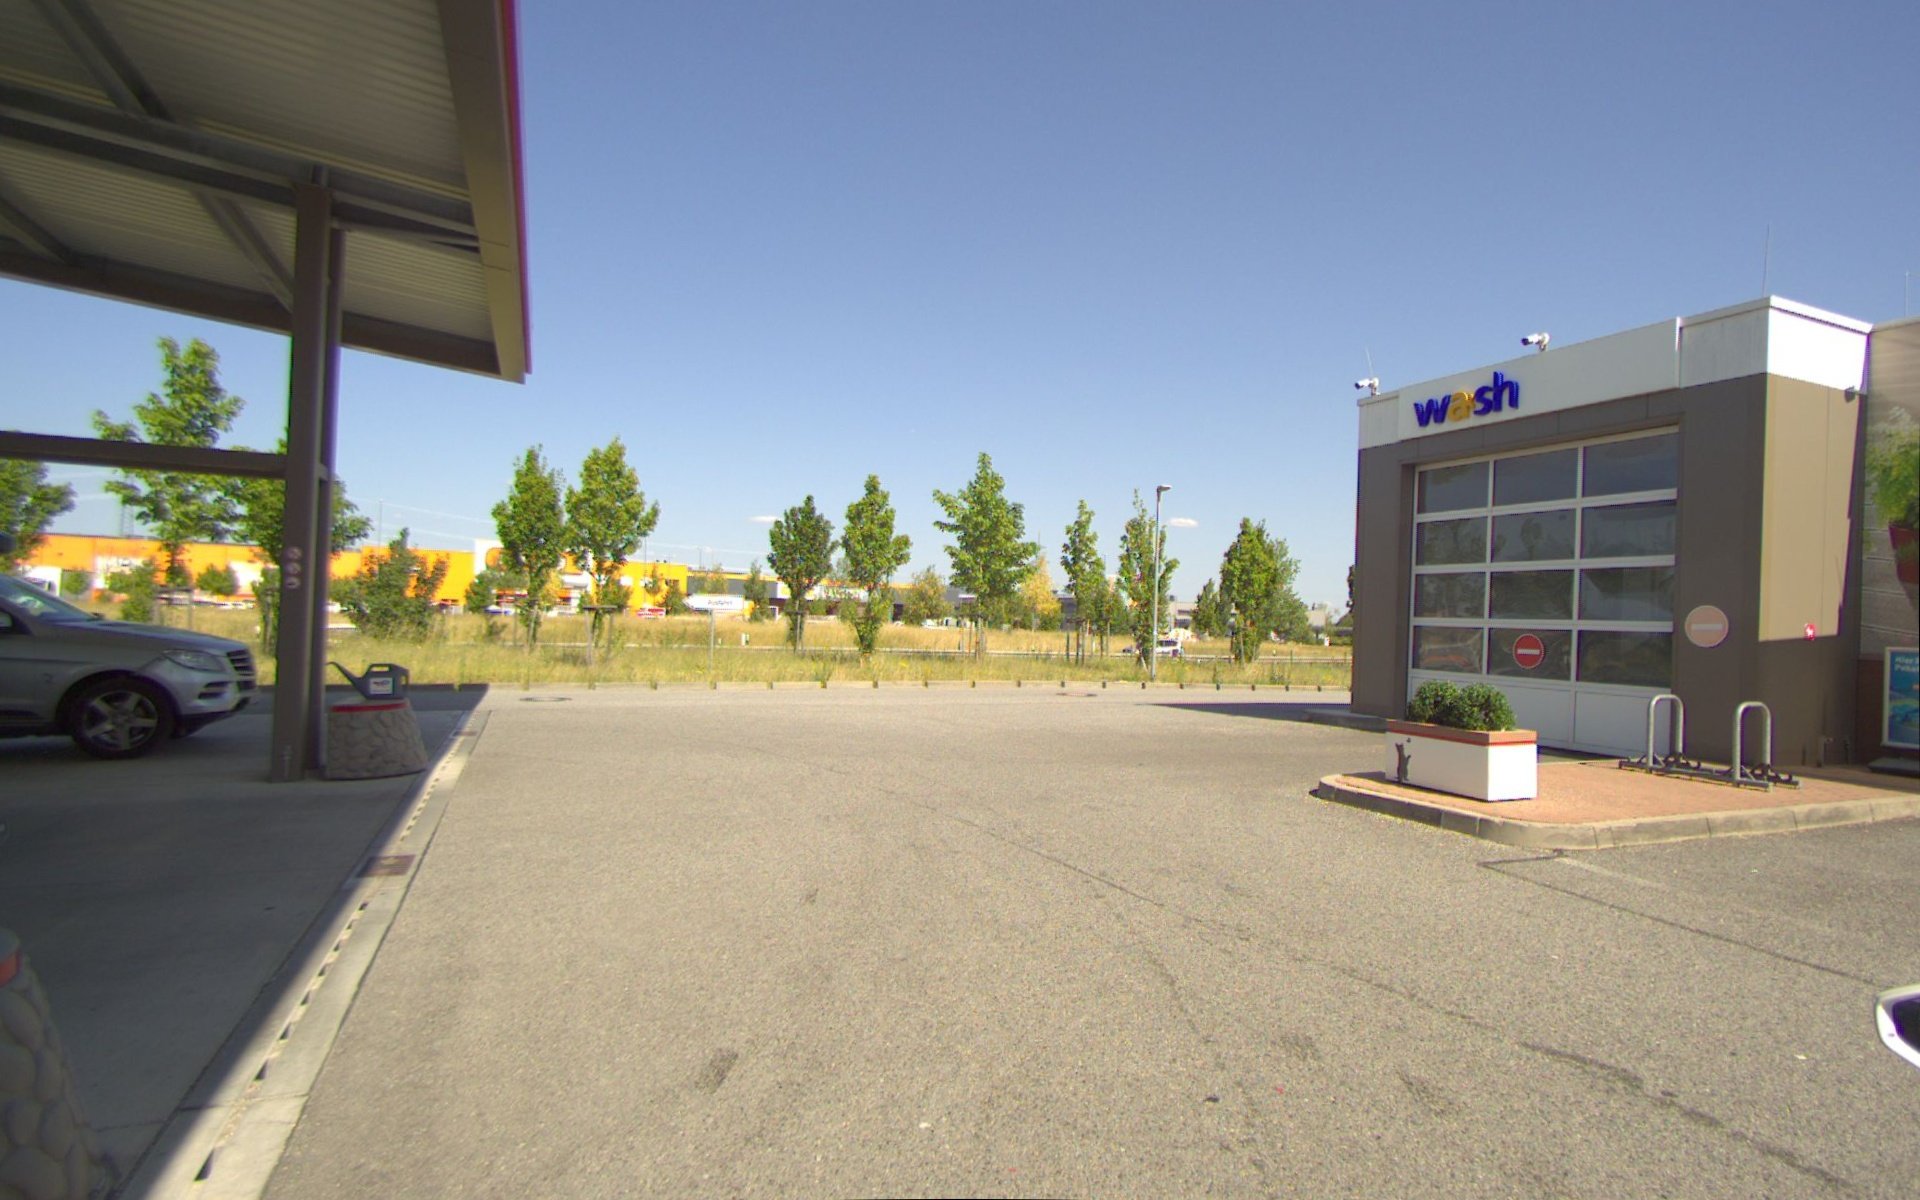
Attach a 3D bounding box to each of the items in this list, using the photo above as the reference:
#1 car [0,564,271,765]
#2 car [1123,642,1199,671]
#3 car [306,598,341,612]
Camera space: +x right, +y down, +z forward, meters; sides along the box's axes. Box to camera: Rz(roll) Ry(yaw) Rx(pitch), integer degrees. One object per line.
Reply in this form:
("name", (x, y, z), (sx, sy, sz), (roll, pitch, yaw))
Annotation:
("car", (-9.119, 0.536, 9.095), (4.478, 1.710, 1.852), (2, -1, -27))
("car", (12.747, 3.553, 63.600), (4.363, 1.625, 1.937), (3, -1, -22))
("car", (-69.075, 0.551, 109.020), (2.902, 1.316, 1.479), (2, -1, -22))
